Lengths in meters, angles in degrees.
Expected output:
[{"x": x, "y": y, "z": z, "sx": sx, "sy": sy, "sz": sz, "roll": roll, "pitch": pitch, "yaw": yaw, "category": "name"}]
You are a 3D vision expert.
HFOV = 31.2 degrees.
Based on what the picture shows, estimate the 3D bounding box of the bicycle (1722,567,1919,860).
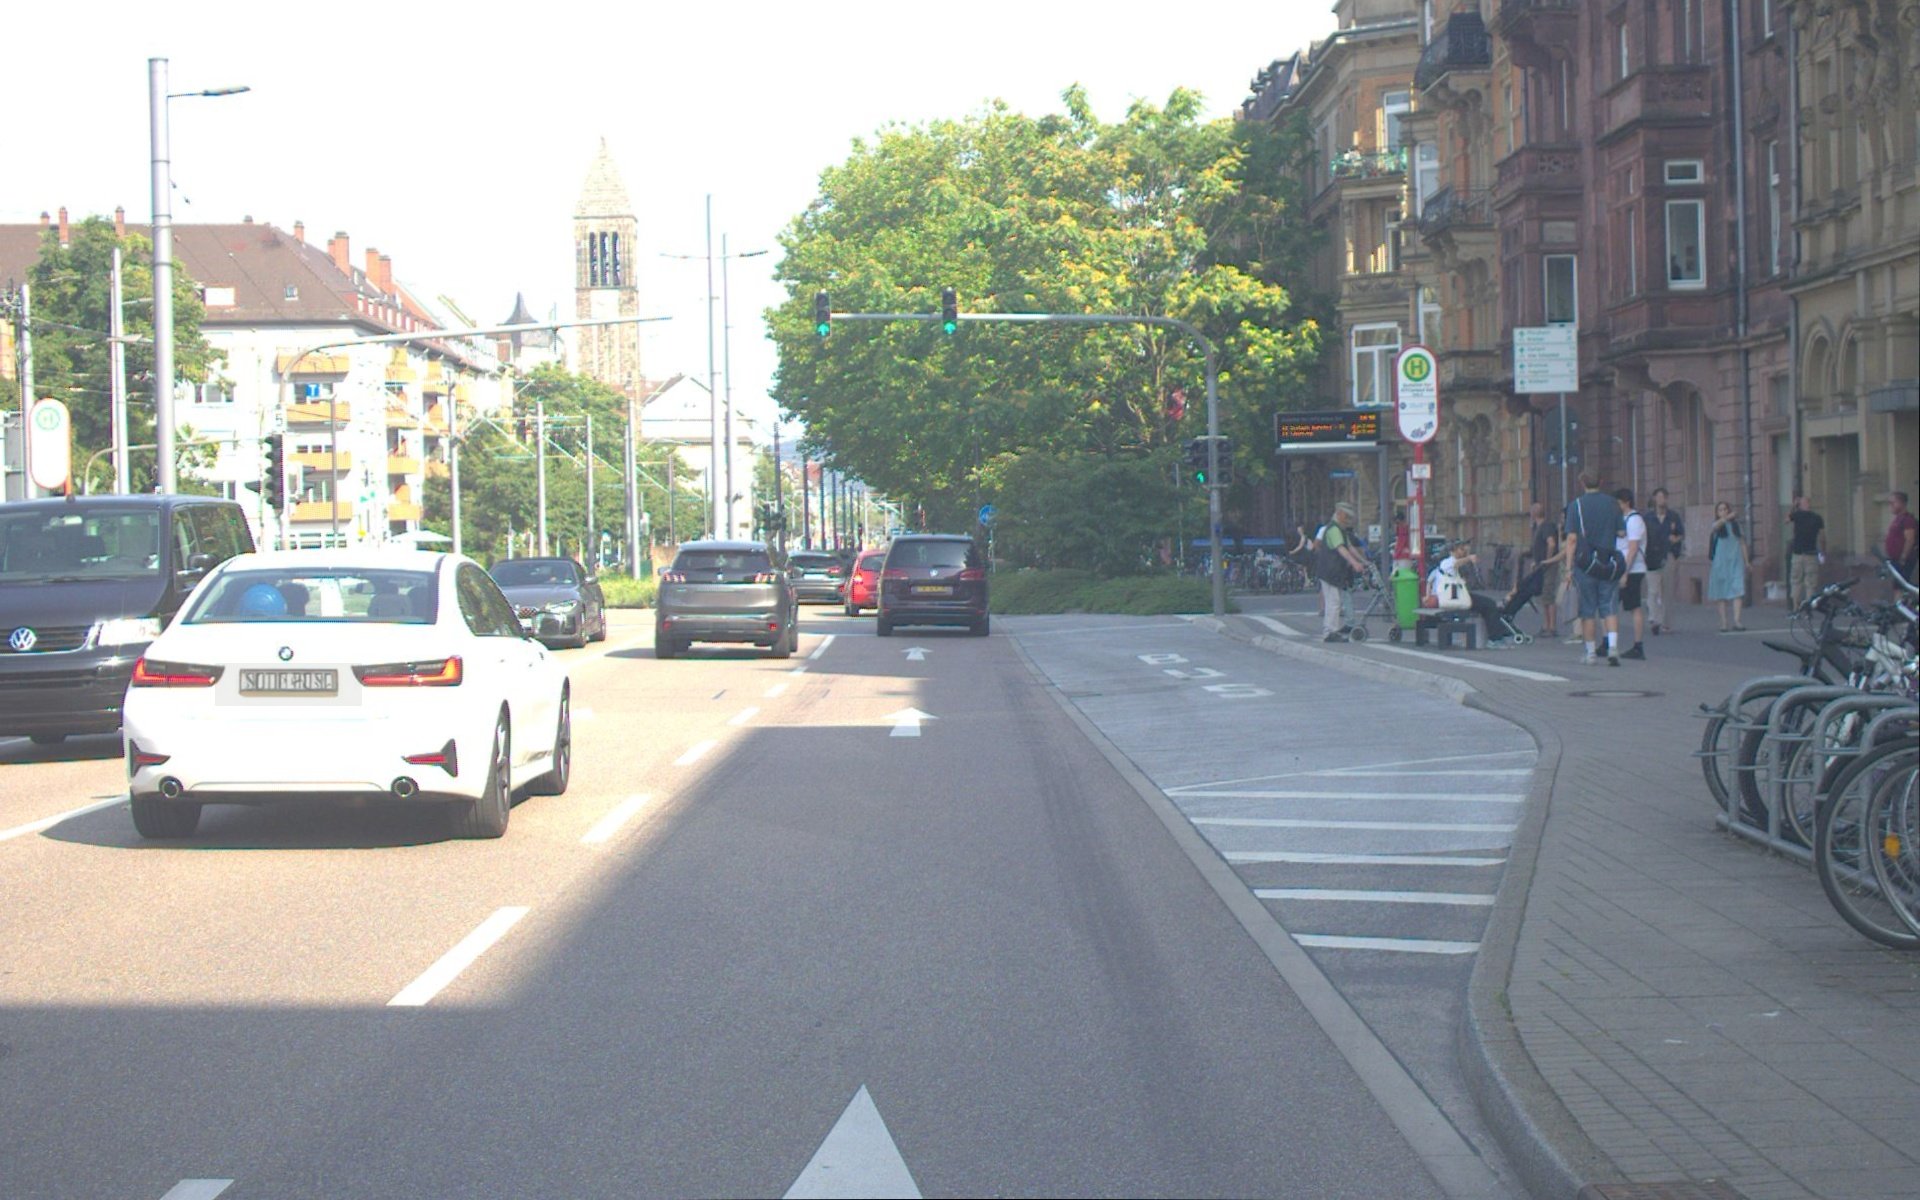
[{"x": 3.962, "y": 0.439, "z": 13.951, "sx": 1.632, "sy": 1.144, "sz": 0.385, "roll": -1, "pitch": 1, "yaw": -5, "category": "bicycle"}]

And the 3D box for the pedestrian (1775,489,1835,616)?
[{"x": 11.601, "y": -0.656, "z": 47.206, "sx": 0.629, "sy": 1.713, "sz": 0.691, "roll": -1, "pitch": 1, "yaw": 0, "category": "pedestrian"}]

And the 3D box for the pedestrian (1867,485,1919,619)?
[{"x": 11.731, "y": -0.607, "z": 42.911, "sx": 0.603, "sy": 1.649, "sz": 0.587, "roll": -1, "pitch": 1, "yaw": -3, "category": "pedestrian"}]

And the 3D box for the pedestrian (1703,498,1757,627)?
[{"x": 9.763, "y": -0.482, "z": 43.591, "sx": 0.486, "sy": 1.605, "sz": 0.813, "roll": -1, "pitch": 1, "yaw": 1, "category": "pedestrian"}]

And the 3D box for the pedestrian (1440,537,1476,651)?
[{"x": 5.632, "y": -0.070, "z": 38.889, "sx": 0.275, "sy": 1.270, "sz": 0.448, "roll": -1, "pitch": 1, "yaw": -7, "category": "pedestrian"}]

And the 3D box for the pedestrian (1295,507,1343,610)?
[{"x": 5.888, "y": -0.680, "z": 56.395, "sx": 0.690, "sy": 1.658, "sz": 0.619, "roll": -1, "pitch": 1, "yaw": 0, "category": "pedestrian"}]

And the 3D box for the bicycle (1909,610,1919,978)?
[{"x": 3.259, "y": 0.612, "z": 9.919, "sx": 0.407, "sy": 1.144, "sz": 1.656, "roll": -1, "pitch": 1, "yaw": -6, "category": "bicycle"}]

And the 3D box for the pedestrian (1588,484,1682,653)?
[{"x": 7.024, "y": -0.336, "z": 35.791, "sx": 0.749, "sy": 1.723, "sz": 0.801, "roll": -1, "pitch": 1, "yaw": -3, "category": "pedestrian"}]

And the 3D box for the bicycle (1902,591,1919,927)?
[{"x": 4.093, "y": 0.526, "z": 11.746, "sx": 1.632, "sy": 1.144, "sz": 0.385, "roll": -1, "pitch": 1, "yaw": -5, "category": "bicycle"}]

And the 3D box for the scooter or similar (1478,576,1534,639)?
[{"x": 6.629, "y": 0.085, "z": 41.760, "sx": 0.565, "sy": 0.739, "sz": 0.514, "roll": -1, "pitch": 1, "yaw": -3, "category": "scooter or similar"}]

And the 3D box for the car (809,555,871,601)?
[{"x": -3.900, "y": -0.730, "z": 112.058, "sx": 1.864, "sy": 1.419, "sz": 4.357, "roll": 0, "pitch": 1, "yaw": 0, "category": "car"}]

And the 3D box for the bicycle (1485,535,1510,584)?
[{"x": 11.702, "y": -0.893, "z": 74.848, "sx": 0.416, "sy": 1.044, "sz": 1.669, "roll": -1, "pitch": 1, "yaw": 5, "category": "bicycle"}]

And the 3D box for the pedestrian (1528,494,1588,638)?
[{"x": 7.263, "y": -0.419, "z": 41.777, "sx": 0.565, "sy": 1.723, "sz": 0.617, "roll": -1, "pitch": 1, "yaw": -3, "category": "pedestrian"}]

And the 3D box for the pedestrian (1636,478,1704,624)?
[{"x": 8.958, "y": -0.622, "z": 43.386, "sx": 0.617, "sy": 1.798, "sz": 1.071, "roll": -1, "pitch": 1, "yaw": 1, "category": "pedestrian"}]

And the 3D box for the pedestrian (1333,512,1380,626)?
[{"x": 5.687, "y": -0.451, "z": 49.378, "sx": 0.528, "sy": 1.606, "sz": 0.703, "roll": -1, "pitch": 1, "yaw": -3, "category": "pedestrian"}]

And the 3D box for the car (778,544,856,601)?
[{"x": -3.727, "y": -0.733, "z": 90.318, "sx": 1.864, "sy": 1.419, "sz": 4.357, "roll": 0, "pitch": 1, "yaw": 0, "category": "car"}]

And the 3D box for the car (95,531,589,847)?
[{"x": -3.137, "y": 0.368, "z": 18.407, "sx": 1.809, "sy": 1.422, "sz": 4.775, "roll": 1, "pitch": 1, "yaw": -1, "category": "car"}]

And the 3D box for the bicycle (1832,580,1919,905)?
[{"x": 4.041, "y": 0.490, "z": 12.492, "sx": 1.632, "sy": 1.144, "sz": 0.385, "roll": -1, "pitch": 1, "yaw": -5, "category": "bicycle"}]

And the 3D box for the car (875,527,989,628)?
[{"x": -0.453, "y": -0.410, "z": 57.597, "sx": 1.831, "sy": 1.615, "sz": 4.357, "roll": 0, "pitch": 1, "yaw": 0, "category": "car"}]

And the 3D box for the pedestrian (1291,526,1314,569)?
[{"x": 9.879, "y": -1.516, "z": 99.127, "sx": 0.597, "sy": 1.244, "sz": 0.506, "roll": -1, "pitch": 1, "yaw": -1, "category": "pedestrian"}]

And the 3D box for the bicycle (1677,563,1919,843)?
[{"x": 3.920, "y": 0.421, "z": 14.645, "sx": 1.632, "sy": 1.144, "sz": 0.385, "roll": -1, "pitch": 1, "yaw": -5, "category": "bicycle"}]

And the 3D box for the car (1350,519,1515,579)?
[{"x": 13.128, "y": -1.427, "z": 95.606, "sx": 4.179, "sy": 1.558, "sz": 2.000, "roll": -1, "pitch": 1, "yaw": -4, "category": "car"}]

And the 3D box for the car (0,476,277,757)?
[{"x": -6.661, "y": 0.089, "z": 26.054, "sx": 1.993, "sy": 1.898, "sz": 4.716, "roll": -2, "pitch": 1, "yaw": 0, "category": "car"}]

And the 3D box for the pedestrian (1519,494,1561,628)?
[{"x": 7.577, "y": -0.518, "z": 44.953, "sx": 0.341, "sy": 1.726, "sz": 0.806, "roll": -1, "pitch": 1, "yaw": -3, "category": "pedestrian"}]

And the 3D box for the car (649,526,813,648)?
[{"x": -3.139, "y": -0.217, "z": 47.898, "sx": 1.993, "sy": 1.615, "sz": 4.357, "roll": 0, "pitch": 1, "yaw": 0, "category": "car"}]

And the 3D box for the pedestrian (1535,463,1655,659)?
[{"x": 6.044, "y": -0.378, "z": 32.756, "sx": 0.925, "sy": 1.825, "sz": 0.801, "roll": -1, "pitch": 1, "yaw": -3, "category": "pedestrian"}]

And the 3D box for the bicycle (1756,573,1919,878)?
[{"x": 3.959, "y": 0.463, "z": 13.334, "sx": 1.632, "sy": 1.144, "sz": 0.385, "roll": -1, "pitch": 1, "yaw": -5, "category": "bicycle"}]

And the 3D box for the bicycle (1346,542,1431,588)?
[{"x": 10.167, "y": -0.829, "z": 81.605, "sx": 1.927, "sy": 1.044, "sz": 0.527, "roll": -1, "pitch": 1, "yaw": -5, "category": "bicycle"}]

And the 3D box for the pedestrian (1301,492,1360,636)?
[{"x": 4.520, "y": -0.444, "z": 41.954, "sx": 0.565, "sy": 1.723, "sz": 0.745, "roll": -1, "pitch": 1, "yaw": -3, "category": "pedestrian"}]

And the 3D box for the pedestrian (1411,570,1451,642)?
[{"x": 5.482, "y": 0.066, "z": 40.019, "sx": 0.303, "sy": 0.817, "sz": 0.604, "roll": -1, "pitch": 1, "yaw": -7, "category": "pedestrian"}]

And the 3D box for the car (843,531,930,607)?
[{"x": -1.601, "y": -0.713, "z": 76.368, "sx": 1.831, "sy": 1.615, "sz": 4.357, "roll": 0, "pitch": 1, "yaw": 0, "category": "car"}]

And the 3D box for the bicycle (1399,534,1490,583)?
[{"x": 10.743, "y": -0.929, "z": 76.258, "sx": 1.927, "sy": 1.044, "sz": 0.500, "roll": -1, "pitch": 1, "yaw": -5, "category": "bicycle"}]

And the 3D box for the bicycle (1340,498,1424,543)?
[{"x": 10.250, "y": -1.943, "z": 83.568, "sx": 1.927, "sy": 1.044, "sz": 0.527, "roll": -1, "pitch": 1, "yaw": -5, "category": "bicycle"}]

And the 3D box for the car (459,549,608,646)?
[{"x": -6.532, "y": -0.070, "z": 53.005, "sx": 1.713, "sy": 1.326, "sz": 4.521, "roll": -2, "pitch": 1, "yaw": 0, "category": "car"}]

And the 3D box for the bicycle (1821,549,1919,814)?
[{"x": 4.717, "y": 0.337, "z": 15.234, "sx": 1.633, "sy": 1.144, "sz": 0.601, "roll": -1, "pitch": 1, "yaw": 2, "category": "bicycle"}]

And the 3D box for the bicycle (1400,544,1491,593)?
[{"x": 10.871, "y": -0.717, "z": 77.011, "sx": 1.927, "sy": 1.044, "sz": 0.500, "roll": -1, "pitch": 1, "yaw": -5, "category": "bicycle"}]

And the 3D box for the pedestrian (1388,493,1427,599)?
[{"x": 7.272, "y": -0.876, "z": 55.864, "sx": 0.481, "sy": 1.696, "sz": 0.703, "roll": -1, "pitch": 1, "yaw": -3, "category": "pedestrian"}]

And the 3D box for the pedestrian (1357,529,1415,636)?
[{"x": 5.192, "y": -0.219, "z": 41.909, "sx": 0.565, "sy": 1.273, "sz": 0.597, "roll": -1, "pitch": 1, "yaw": -4, "category": "pedestrian"}]
